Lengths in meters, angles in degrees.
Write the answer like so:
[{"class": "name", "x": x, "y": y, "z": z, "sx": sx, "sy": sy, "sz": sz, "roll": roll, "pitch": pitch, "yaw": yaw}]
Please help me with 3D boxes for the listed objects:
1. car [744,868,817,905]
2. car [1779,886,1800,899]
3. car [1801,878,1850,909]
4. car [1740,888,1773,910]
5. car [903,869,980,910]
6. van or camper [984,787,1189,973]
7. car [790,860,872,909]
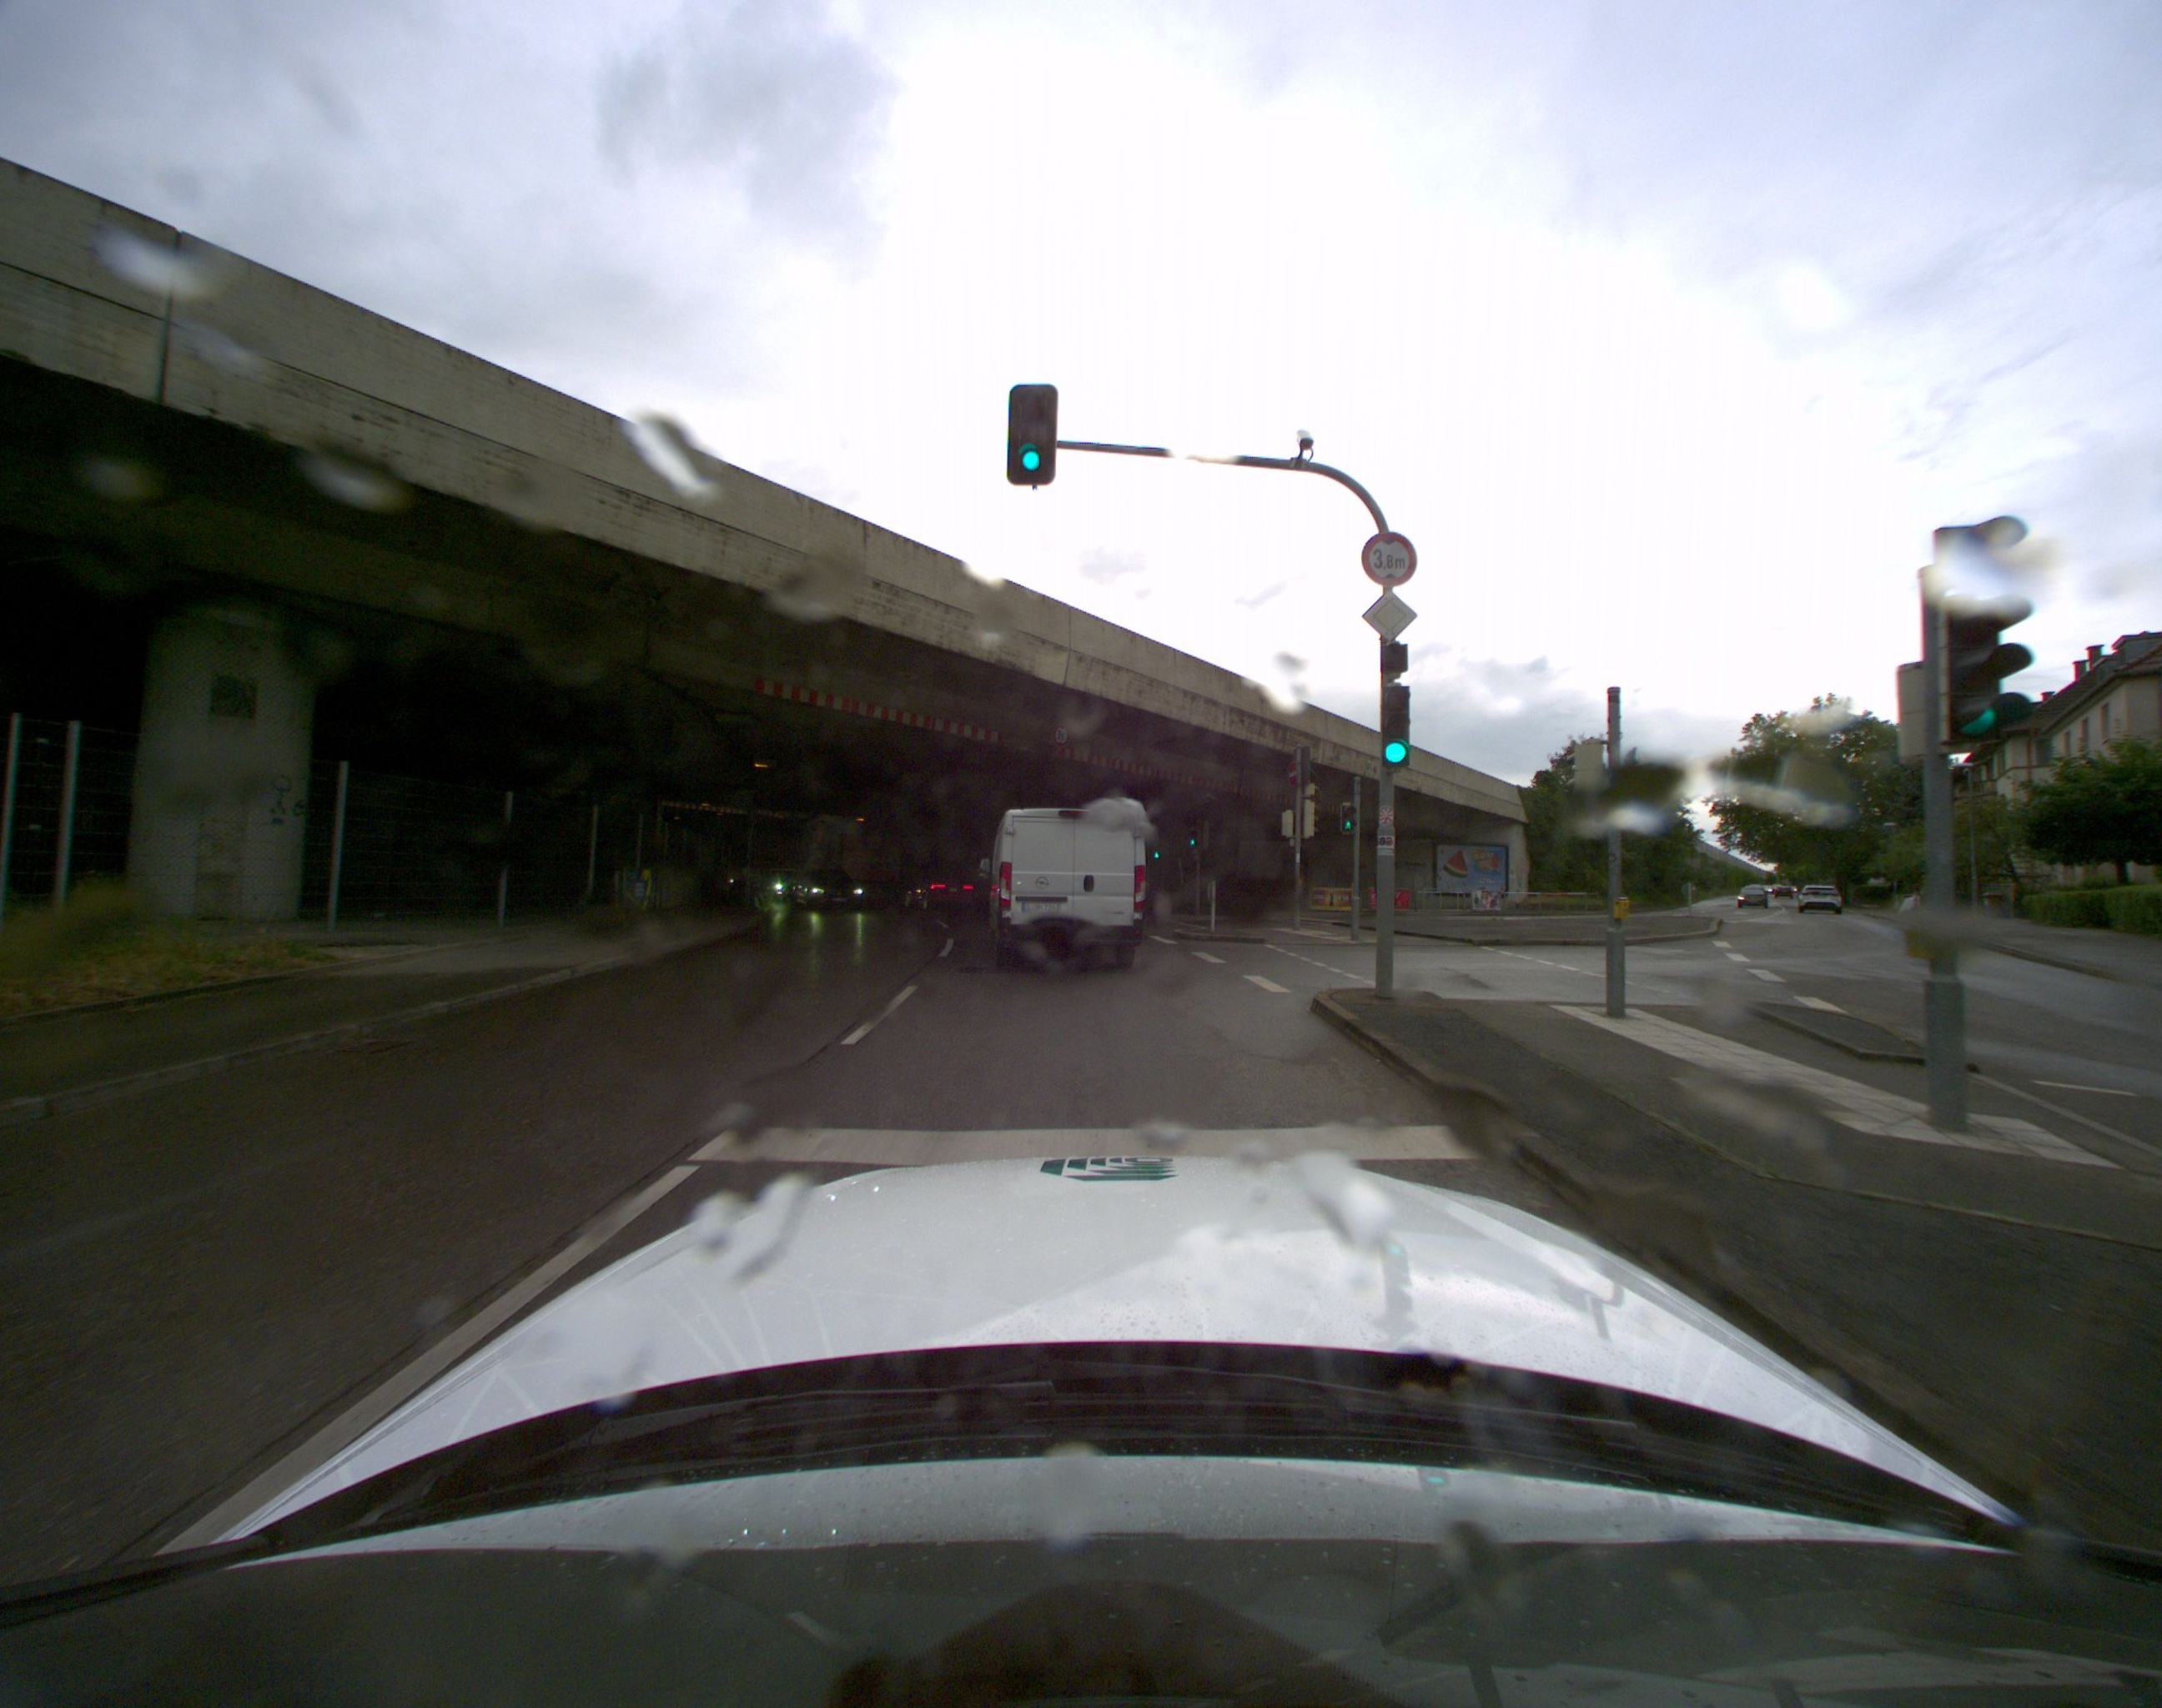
[{"class": "car", "x": -13.035, "y": 1.390, "z": 35.204, "sx": 2.008, "sy": 1.465, "sz": 4.061, "roll": 2, "pitch": -3, "yaw": -35}, {"class": "car", "x": 91.603, "y": 4.987, "z": 105.279, "sx": 1.857, "sy": 1.530, "sz": 4.025, "roll": 1, "pitch": 0, "yaw": 38}, {"class": "car", "x": 41.224, "y": 2.165, "z": 45.186, "sx": 1.858, "sy": 1.530, "sz": 4.024, "roll": 1, "pitch": 0, "yaw": 41}, {"class": "car", "x": 51.248, "y": 3.424, "z": 61.738, "sx": 1.747, "sy": 1.580, "sz": 4.259, "roll": -3, "pitch": -4, "yaw": 41}, {"class": "car", "x": -5.309, "y": 1.299, "z": 30.646, "sx": 1.845, "sy": 1.438, "sz": 4.069, "roll": 2, "pitch": -2, "yaw": -25}, {"class": "van or camper", "x": -0.183, "y": 0.361, "z": 13.302, "sx": 2.695, "sy": 2.416, "sz": 4.892, "roll": 2, "pitch": 0, "yaw": -7}, {"class": "car", "x": -9.107, "y": 1.058, "z": 29.413, "sx": 2.004, "sy": 1.530, "sz": 4.460, "roll": 2, "pitch": 0, "yaw": -27}]
